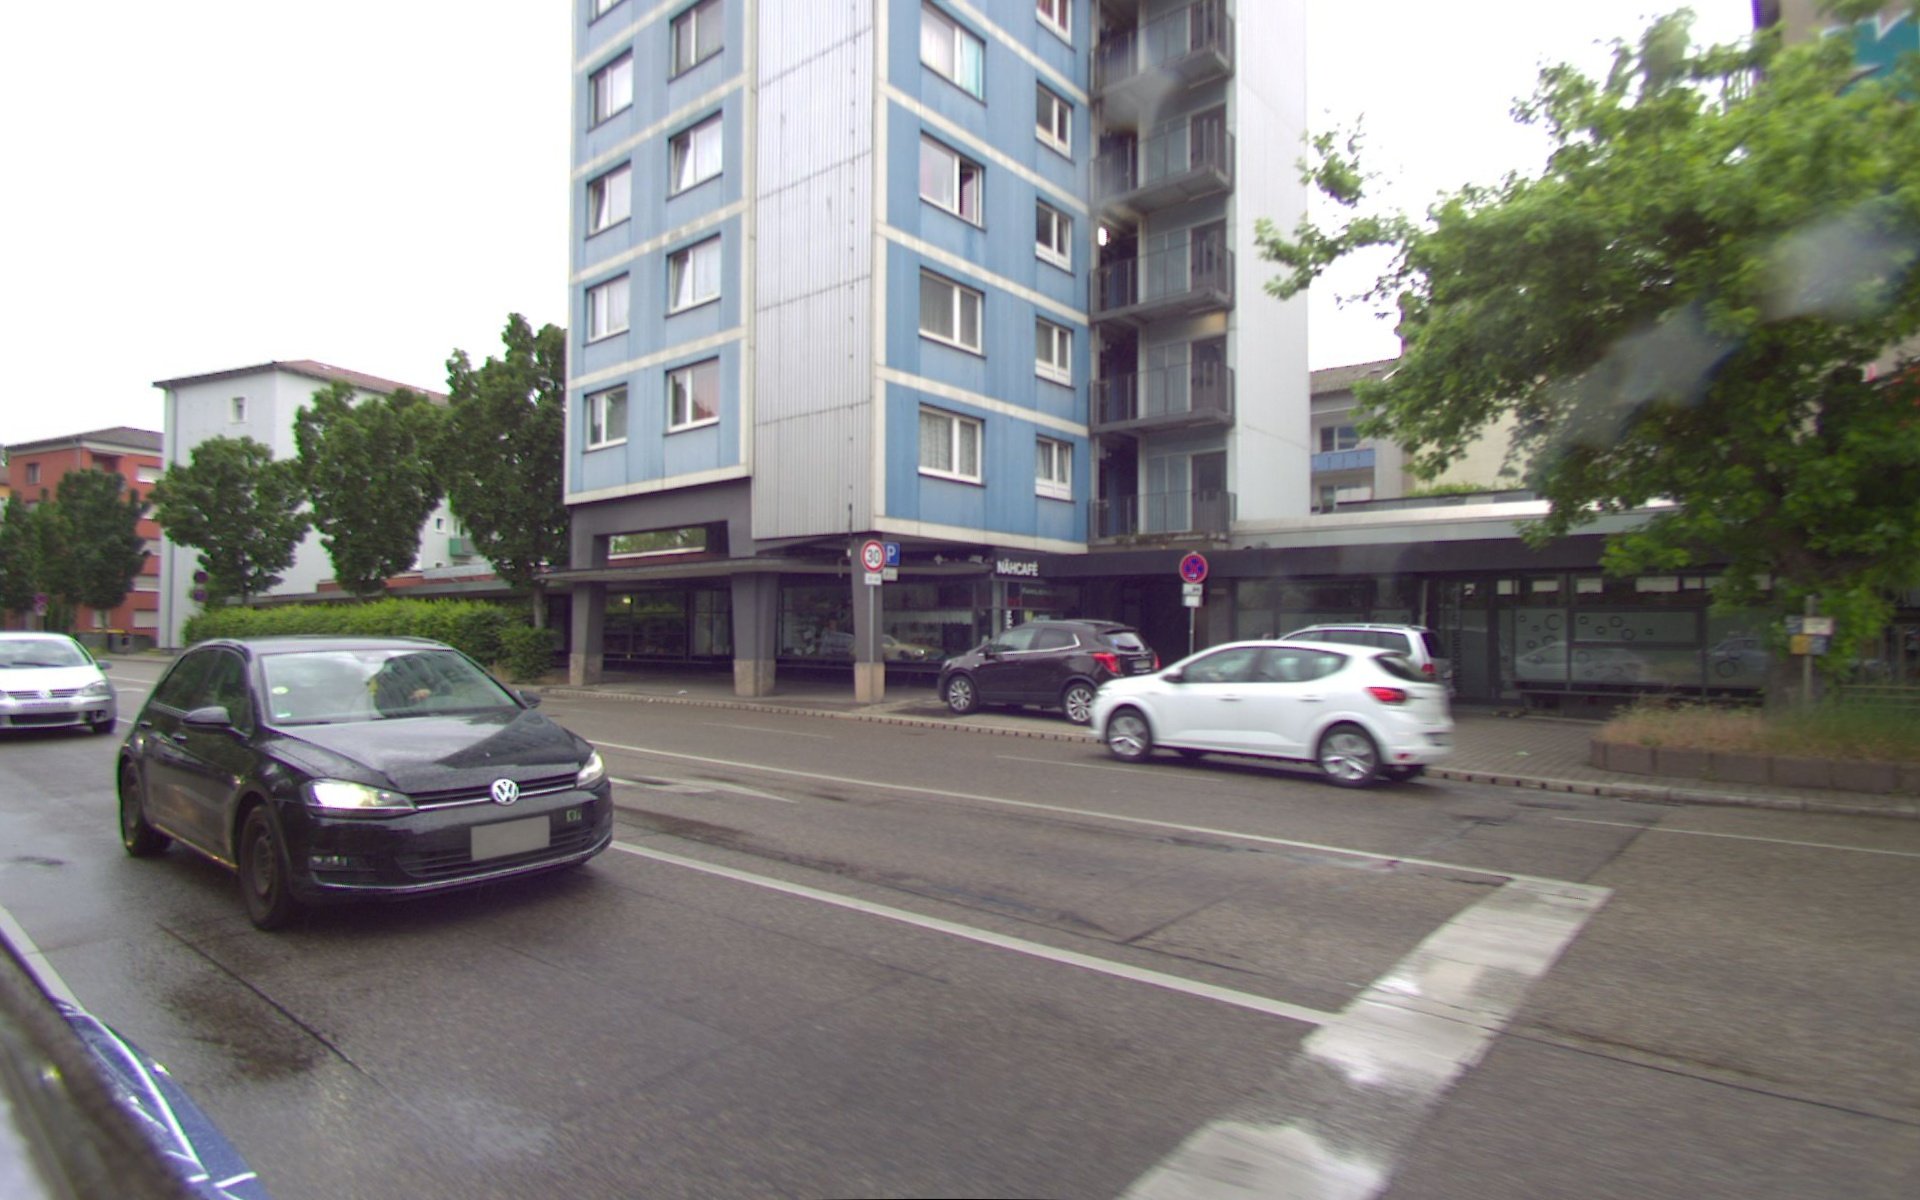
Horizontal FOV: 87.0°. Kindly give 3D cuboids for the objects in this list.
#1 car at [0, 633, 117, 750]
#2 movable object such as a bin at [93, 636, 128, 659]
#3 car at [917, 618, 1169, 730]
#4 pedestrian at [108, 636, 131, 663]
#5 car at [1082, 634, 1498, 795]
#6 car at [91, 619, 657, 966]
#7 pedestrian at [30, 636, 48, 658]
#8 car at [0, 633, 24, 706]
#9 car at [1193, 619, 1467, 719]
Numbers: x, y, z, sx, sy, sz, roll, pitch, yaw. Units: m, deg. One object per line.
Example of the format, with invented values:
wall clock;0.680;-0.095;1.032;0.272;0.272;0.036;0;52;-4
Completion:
car;-13.737;1.225;14.536;4.157;1.498;1.726;-2;-3;39
movable object such as a bin;-56.823;3.189;67.705;2.081;1.496;1.205;-2;-3;33
car;1.340;1.205;17.573;4.283;1.719;1.524;-2;-2;40
pedestrian;-48.847;2.870;58.829;1.065;1.529;0.687;-2;-3;30
car;3.650;1.218;11.597;4.087;1.506;1.972;-3;-6;42
car;-3.782;0.912;6.260;3.996;1.464;1.738;-2;-4;40
pedestrian;-63.567;3.249;69.873;0.832;1.460;0.666;-2;-3;30
car;-21.644;1.461;21.476;4.582;1.475;2.045;-2;-3;40
car;6.930;1.224;19.201;4.506;1.667;1.974;-1;-2;39
